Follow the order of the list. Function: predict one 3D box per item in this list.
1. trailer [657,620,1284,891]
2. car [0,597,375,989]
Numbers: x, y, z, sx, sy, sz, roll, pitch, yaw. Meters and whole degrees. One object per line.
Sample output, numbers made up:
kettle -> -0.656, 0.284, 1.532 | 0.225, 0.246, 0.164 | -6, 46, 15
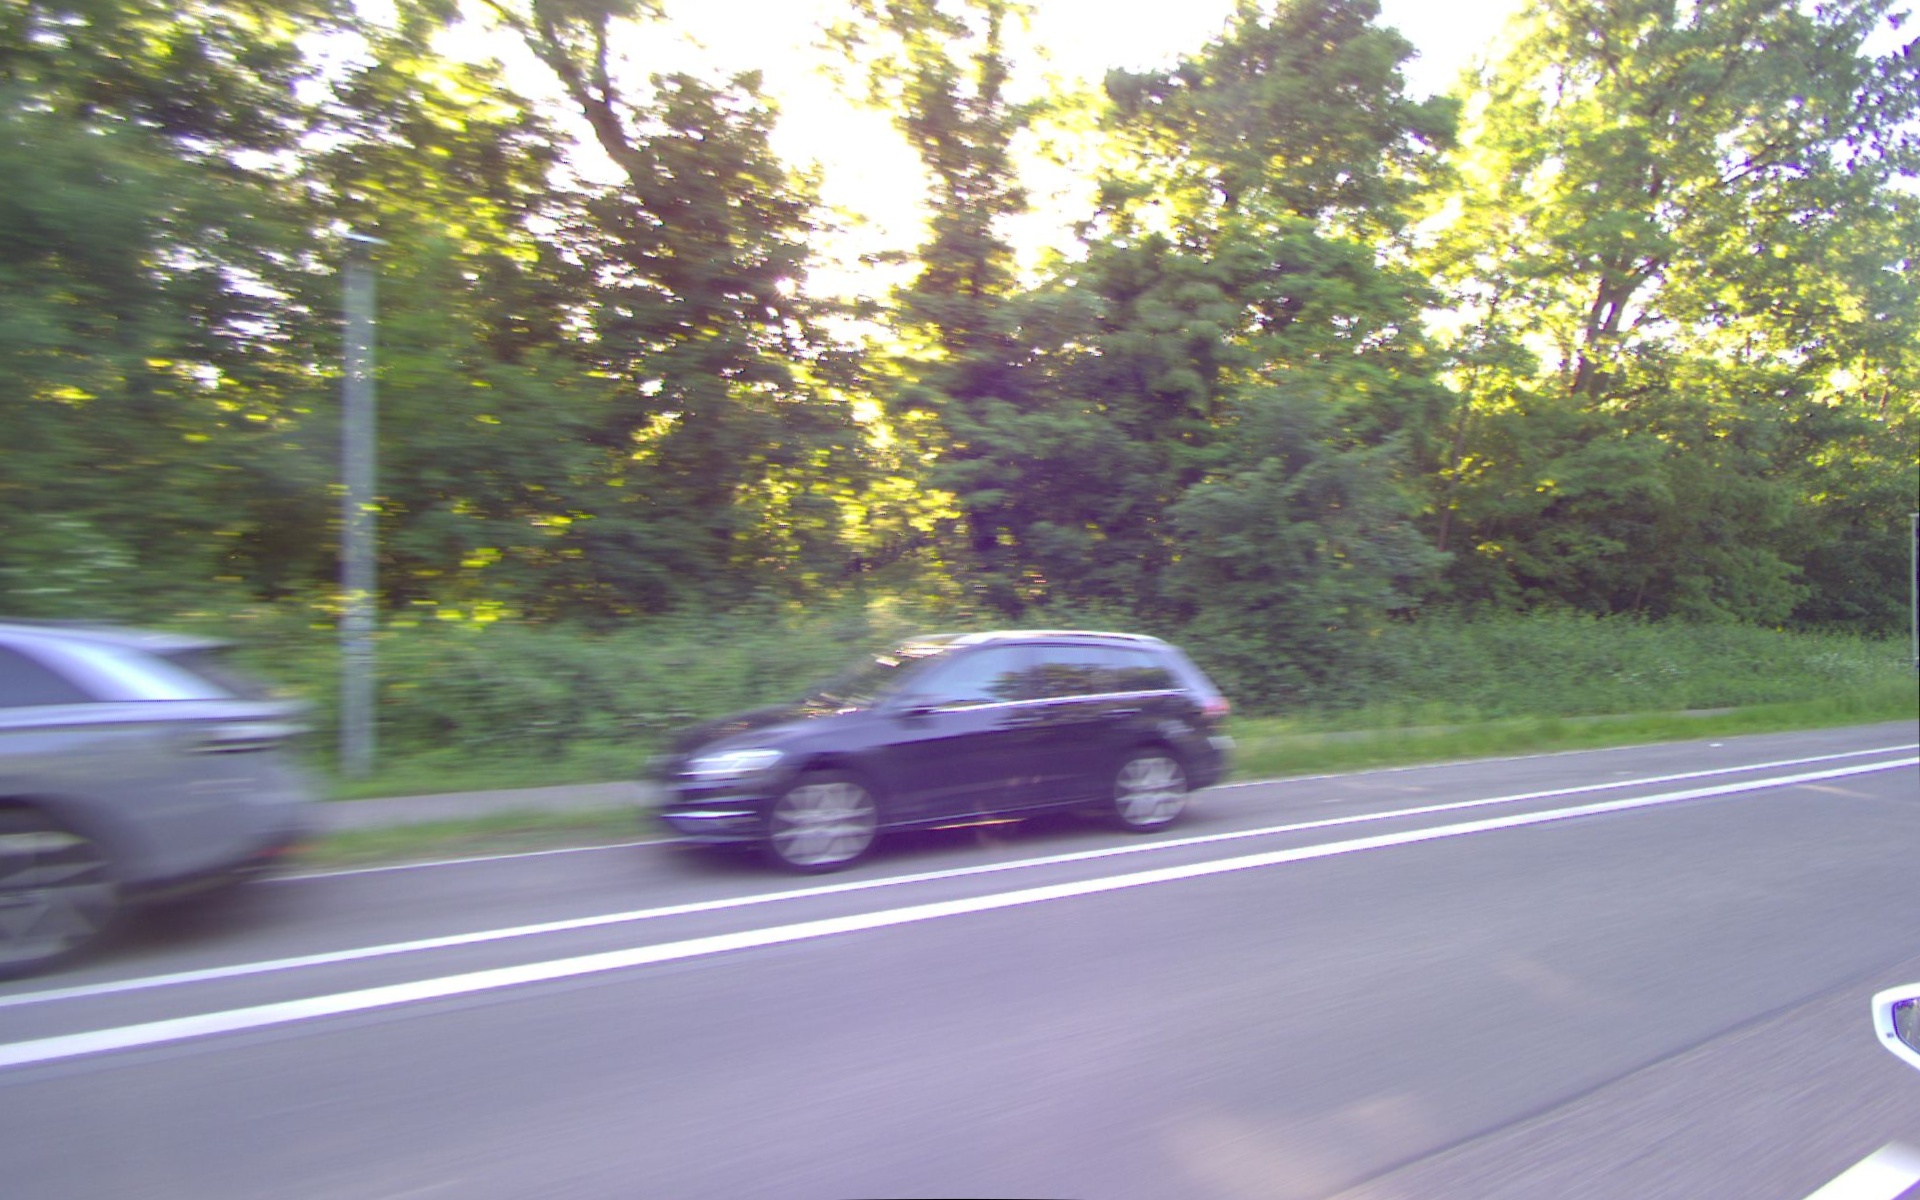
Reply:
trailer -> 0.182, 0.937, 7.565 | 4.414, 1.485, 1.832 | 1, -1, -30
car -> -5.424, 0.802, 4.207 | 5.067, 1.594, 1.664 | 2, -4, -30
